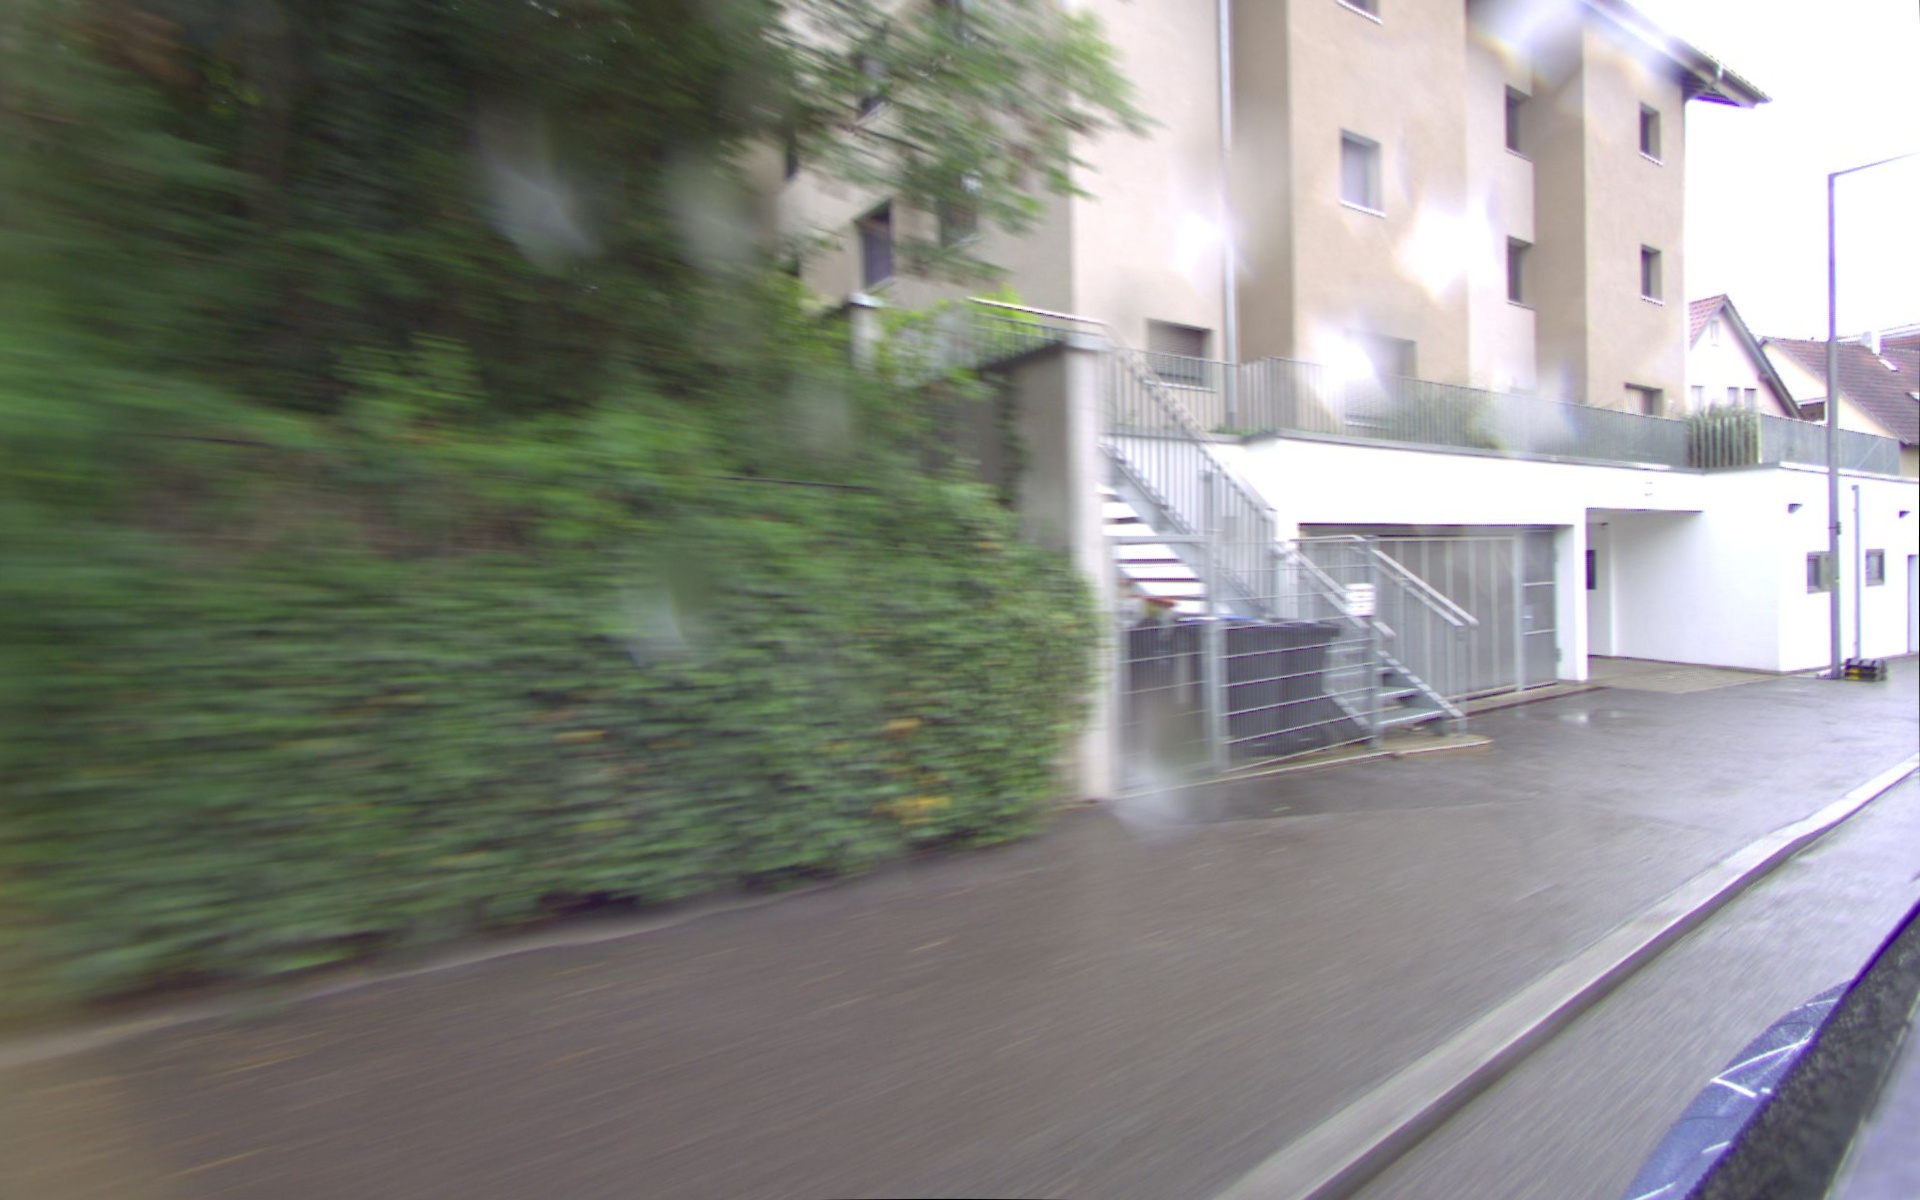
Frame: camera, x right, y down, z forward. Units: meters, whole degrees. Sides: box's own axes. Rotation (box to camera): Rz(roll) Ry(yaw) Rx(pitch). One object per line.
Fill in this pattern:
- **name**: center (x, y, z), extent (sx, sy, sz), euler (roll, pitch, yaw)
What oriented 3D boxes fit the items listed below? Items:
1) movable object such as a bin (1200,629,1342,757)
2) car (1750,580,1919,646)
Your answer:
- **movable object such as a bin**: center (2.594, 0.739, 8.463), extent (0.733, 0.953, 0.876), euler (0, 0, -39)
- **car**: center (21.888, 0.258, 24.414), extent (1.958, 1.476, 4.008), euler (0, 1, -22)
